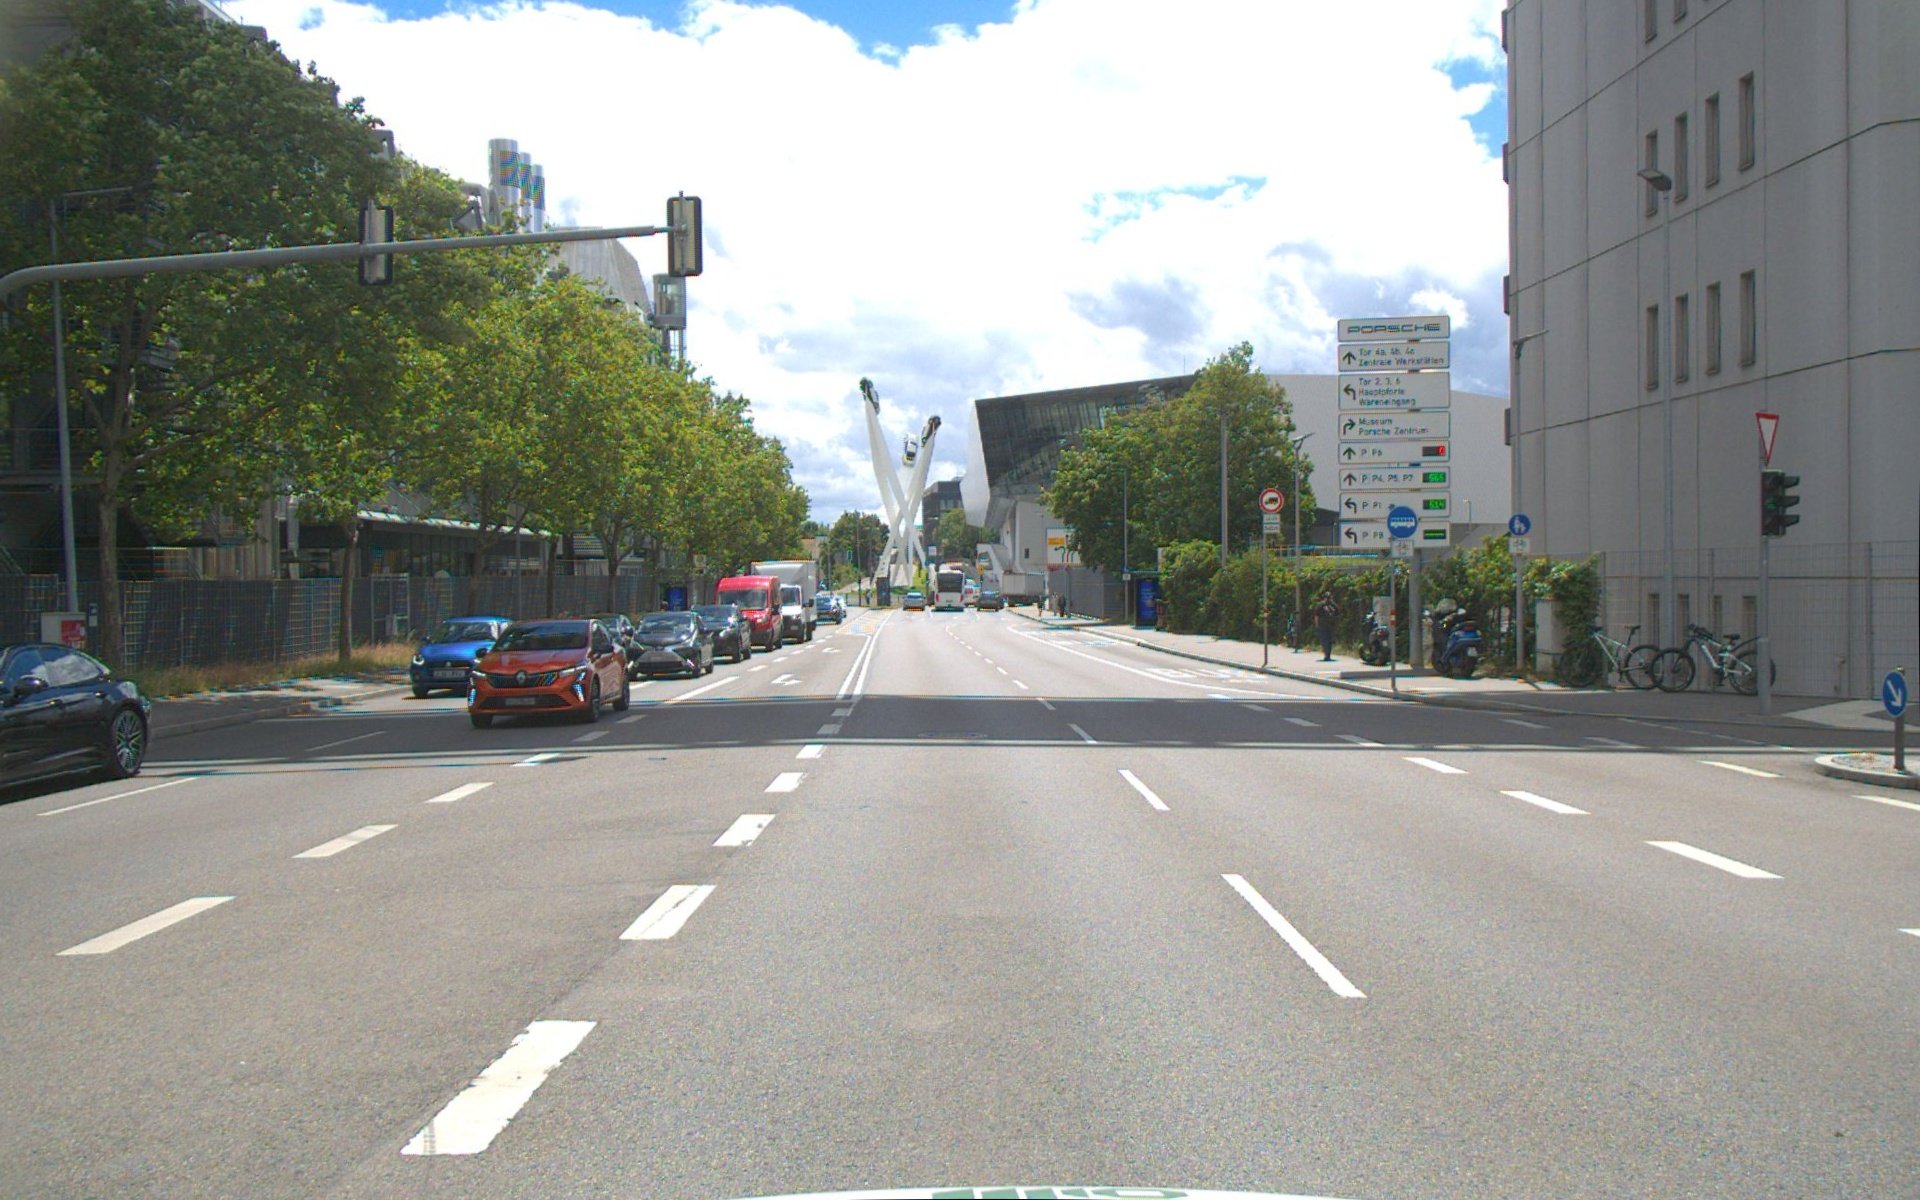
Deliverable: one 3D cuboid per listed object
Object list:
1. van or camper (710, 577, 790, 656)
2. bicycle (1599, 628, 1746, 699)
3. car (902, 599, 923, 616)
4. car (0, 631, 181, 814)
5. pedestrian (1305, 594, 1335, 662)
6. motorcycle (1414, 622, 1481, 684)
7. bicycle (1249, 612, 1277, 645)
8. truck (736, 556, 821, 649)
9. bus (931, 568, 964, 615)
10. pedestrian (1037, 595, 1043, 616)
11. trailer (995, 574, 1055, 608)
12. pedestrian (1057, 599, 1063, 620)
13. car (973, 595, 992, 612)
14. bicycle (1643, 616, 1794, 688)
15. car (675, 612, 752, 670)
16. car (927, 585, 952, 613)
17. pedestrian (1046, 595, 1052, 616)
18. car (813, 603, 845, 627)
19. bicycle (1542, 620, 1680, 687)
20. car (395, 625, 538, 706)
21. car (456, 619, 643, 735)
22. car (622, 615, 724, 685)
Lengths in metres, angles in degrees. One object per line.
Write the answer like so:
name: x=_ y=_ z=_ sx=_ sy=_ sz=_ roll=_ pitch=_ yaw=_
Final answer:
van or camper: x=-7.015 y=0.539 z=55.812 sx=2.005 sy=2.510 sz=5.594 roll=0 pitch=0 yaw=0
bicycle: x=11.737 y=1.029 z=27.293 sx=2.179 sy=1.106 sz=0.475 roll=0 pitch=-2 yaw=35
car: x=-3.953 y=0.641 z=138.168 sx=1.525 sy=1.295 sz=3.701 roll=-2 pitch=0 yaw=1
car: x=-9.168 y=1.114 z=15.038 sx=1.878 sy=1.514 sz=4.771 roll=-2 pitch=0 yaw=0
pedestrian: x=9.005 y=0.694 z=41.378 sx=0.523 sy=1.669 sz=0.657 roll=1 pitch=-1 yaw=-6
motorcycle: x=9.631 y=1.034 z=32.741 sx=0.410 sy=1.186 sz=1.951 roll=1 pitch=-1 yaw=-12
bicycle: x=9.698 y=0.903 z=52.992 sx=0.410 sy=1.040 sz=1.910 roll=1 pitch=-1 yaw=-5
truck: x=-7.005 y=0.157 z=64.670 sx=2.538 sy=3.382 sz=7.077 roll=1 pitch=-1 yaw=0
bus: x=-1.038 y=-0.696 z=140.095 sx=2.730 sy=3.751 sz=6.941 roll=1 pitch=-1 yaw=0
pedestrian: x=5.591 y=0.369 z=116.045 sx=0.378 sy=1.446 sz=0.423 roll=1 pitch=-1 yaw=0
trailer: x=6.620 y=-0.853 z=166.470 sx=3.250 sy=3.047 sz=10.380 roll=1 pitch=-1 yaw=18
pedestrian: x=6.738 y=0.630 z=111.618 sx=0.378 sy=1.446 sz=0.423 roll=1 pitch=-1 yaw=0
car: x=1.845 y=0.287 z=139.084 sx=1.525 sy=1.295 sz=3.701 roll=-2 pitch=0 yaw=1
bicycle: x=12.091 y=0.813 z=26.396 sx=2.149 sy=1.106 sz=0.475 roll=0 pitch=-2 yaw=35
car: x=-6.793 y=1.101 z=45.902 sx=1.525 sy=1.473 sz=3.772 roll=-2 pitch=0 yaw=0
car: x=-1.983 y=-0.108 z=161.867 sx=1.804 sy=2.670 sz=4.003 roll=1 pitch=-1 yaw=7
pedestrian: x=6.270 y=0.397 z=116.320 sx=0.378 sy=1.446 sz=0.423 roll=1 pitch=-1 yaw=0
car: x=-7.547 y=0.882 z=95.535 sx=1.525 sy=1.295 sz=3.701 roll=-2 pitch=0 yaw=0
bicycle: x=11.248 y=0.906 z=28.619 sx=2.179 sy=1.106 sz=0.475 roll=0 pitch=-2 yaw=35
car: x=-9.713 y=1.257 z=32.828 sx=1.692 sy=1.406 sz=3.701 roll=-2 pitch=0 yaw=0
car: x=-5.806 y=1.039 z=23.810 sx=1.733 sy=1.445 sz=3.701 roll=-2 pitch=0 yaw=0
car: x=-6.378 y=1.075 z=37.119 sx=1.598 sy=1.406 sz=3.701 roll=-2 pitch=0 yaw=0
